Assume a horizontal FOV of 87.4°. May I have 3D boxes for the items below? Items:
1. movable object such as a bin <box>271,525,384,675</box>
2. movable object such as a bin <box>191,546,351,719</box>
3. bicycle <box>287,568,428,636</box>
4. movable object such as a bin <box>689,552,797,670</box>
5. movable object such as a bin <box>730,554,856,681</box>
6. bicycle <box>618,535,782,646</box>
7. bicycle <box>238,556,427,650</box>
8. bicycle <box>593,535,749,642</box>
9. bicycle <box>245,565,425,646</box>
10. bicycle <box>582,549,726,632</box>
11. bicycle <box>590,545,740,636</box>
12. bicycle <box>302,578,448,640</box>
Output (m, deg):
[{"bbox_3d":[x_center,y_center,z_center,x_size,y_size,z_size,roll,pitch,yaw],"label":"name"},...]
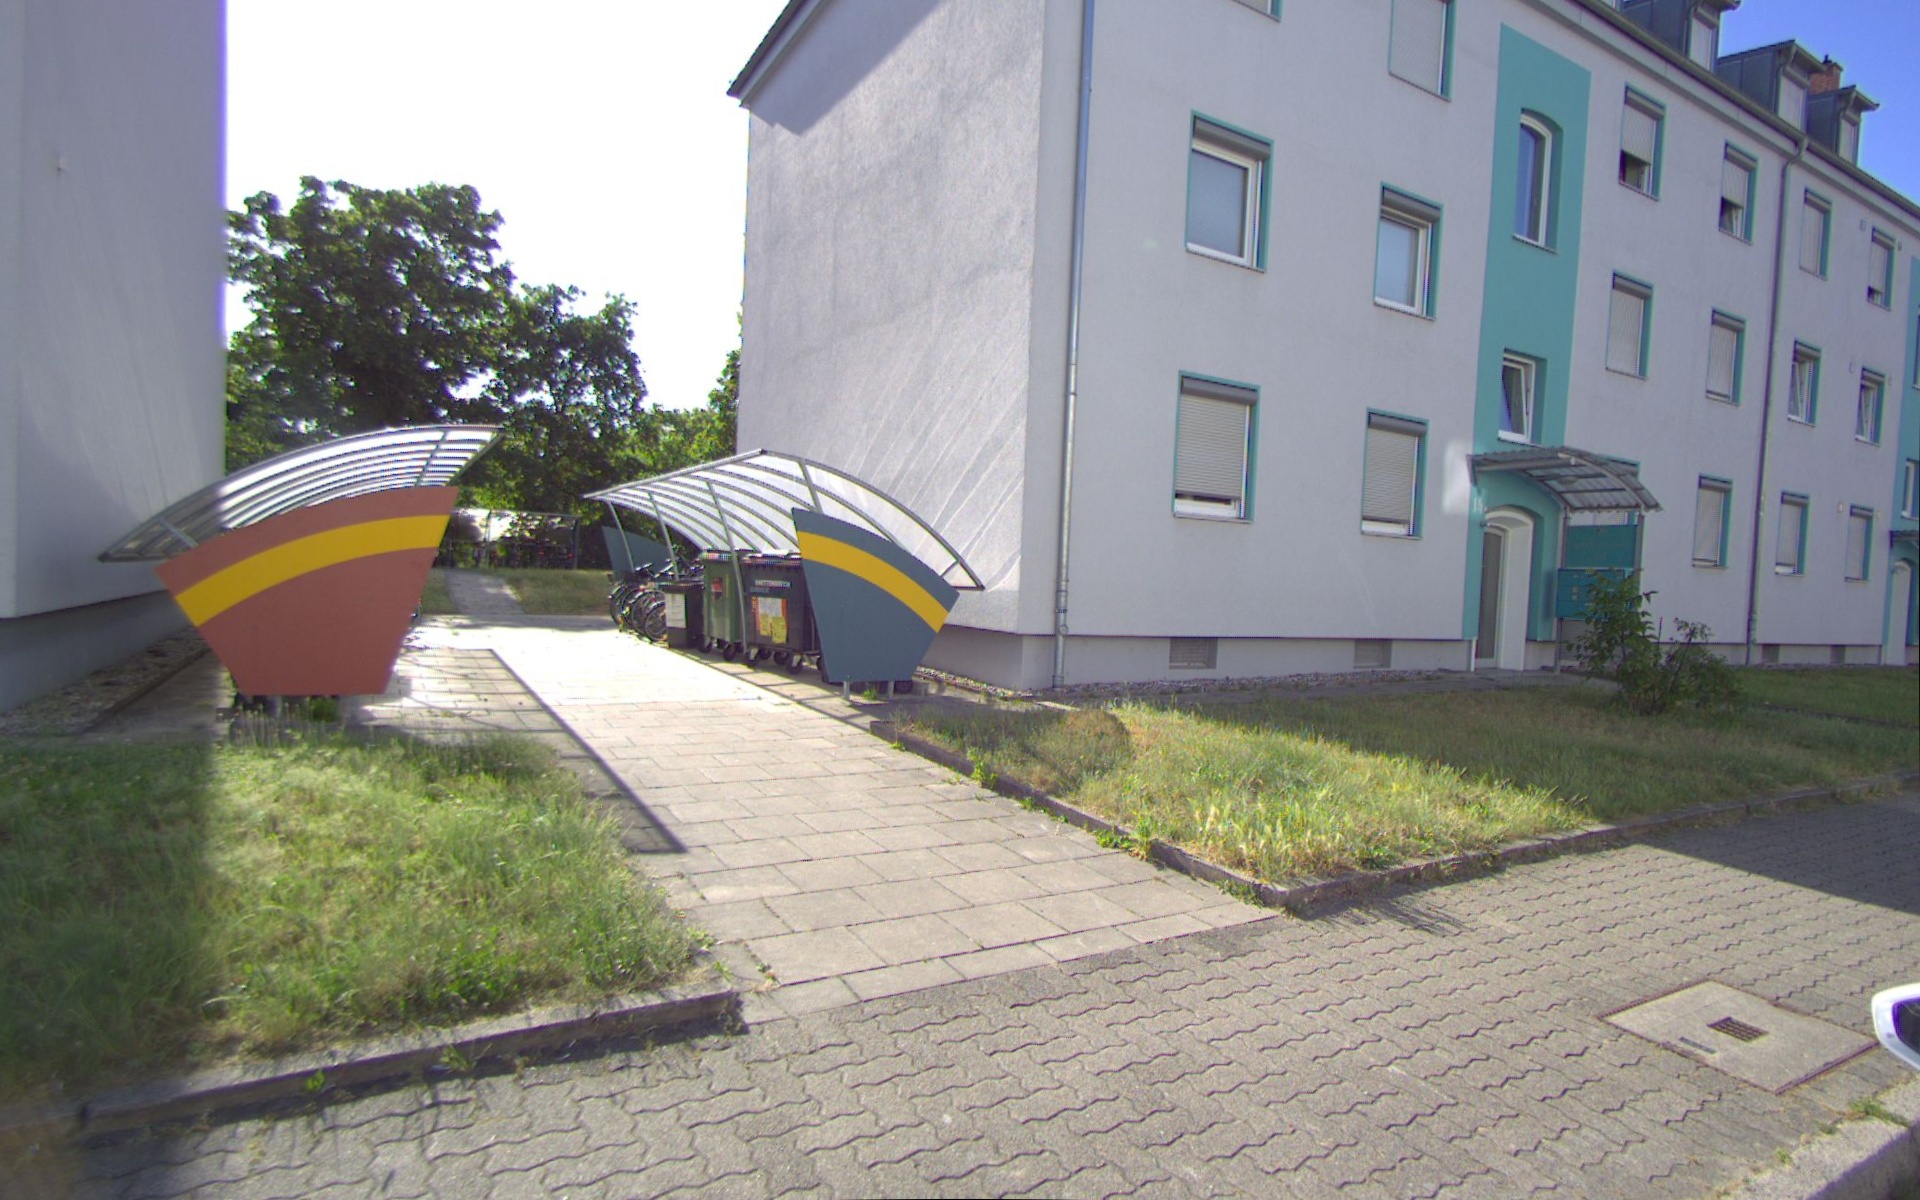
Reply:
[{"bbox_3d":[-6.571,-0.012,10.486,0.936,1.461,1.053,1,2,-31],"label":"movable object such as a bin"},{"bbox_3d":[-5.193,0.199,7.660,0.900,1.184,1.306,1,2,-31],"label":"movable object such as a bin"},{"bbox_3d":[-8.674,0.031,14.531,1.712,0.921,0.505,1,3,-31],"label":"bicycle"},{"bbox_3d":[-2.744,0.116,12.643,0.797,1.366,1.243,0,3,-40],"label":"movable object such as a bin"},{"bbox_3d":[-1.946,0.178,11.644,0.899,1.374,1.238,1,2,-41],"label":"movable object such as a bin"},{"bbox_3d":[-3.782,-0.123,14.666,2.172,1.530,0.699,1,3,-31],"label":"bicycle"},{"bbox_3d":[-7.636,0.046,12.310,1.919,1.081,0.505,1,3,-31],"label":"bicycle"},{"bbox_3d":[-4.414,-0.162,15.410,2.172,1.546,0.660,1,2,-31],"label":"bicycle"},{"bbox_3d":[-7.961,0.075,12.879,1.907,0.961,0.547,1,4,-31],"label":"bicycle"},{"bbox_3d":[-5.080,-0.149,16.728,2.172,1.290,0.699,1,3,-31],"label":"bicycle"},{"bbox_3d":[-4.702,-0.140,16.087,2.172,1.375,0.699,1,3,-31],"label":"bicycle"},{"bbox_3d":[-8.114,0.132,13.986,1.712,0.808,0.505,1,3,-31],"label":"bicycle"}]
